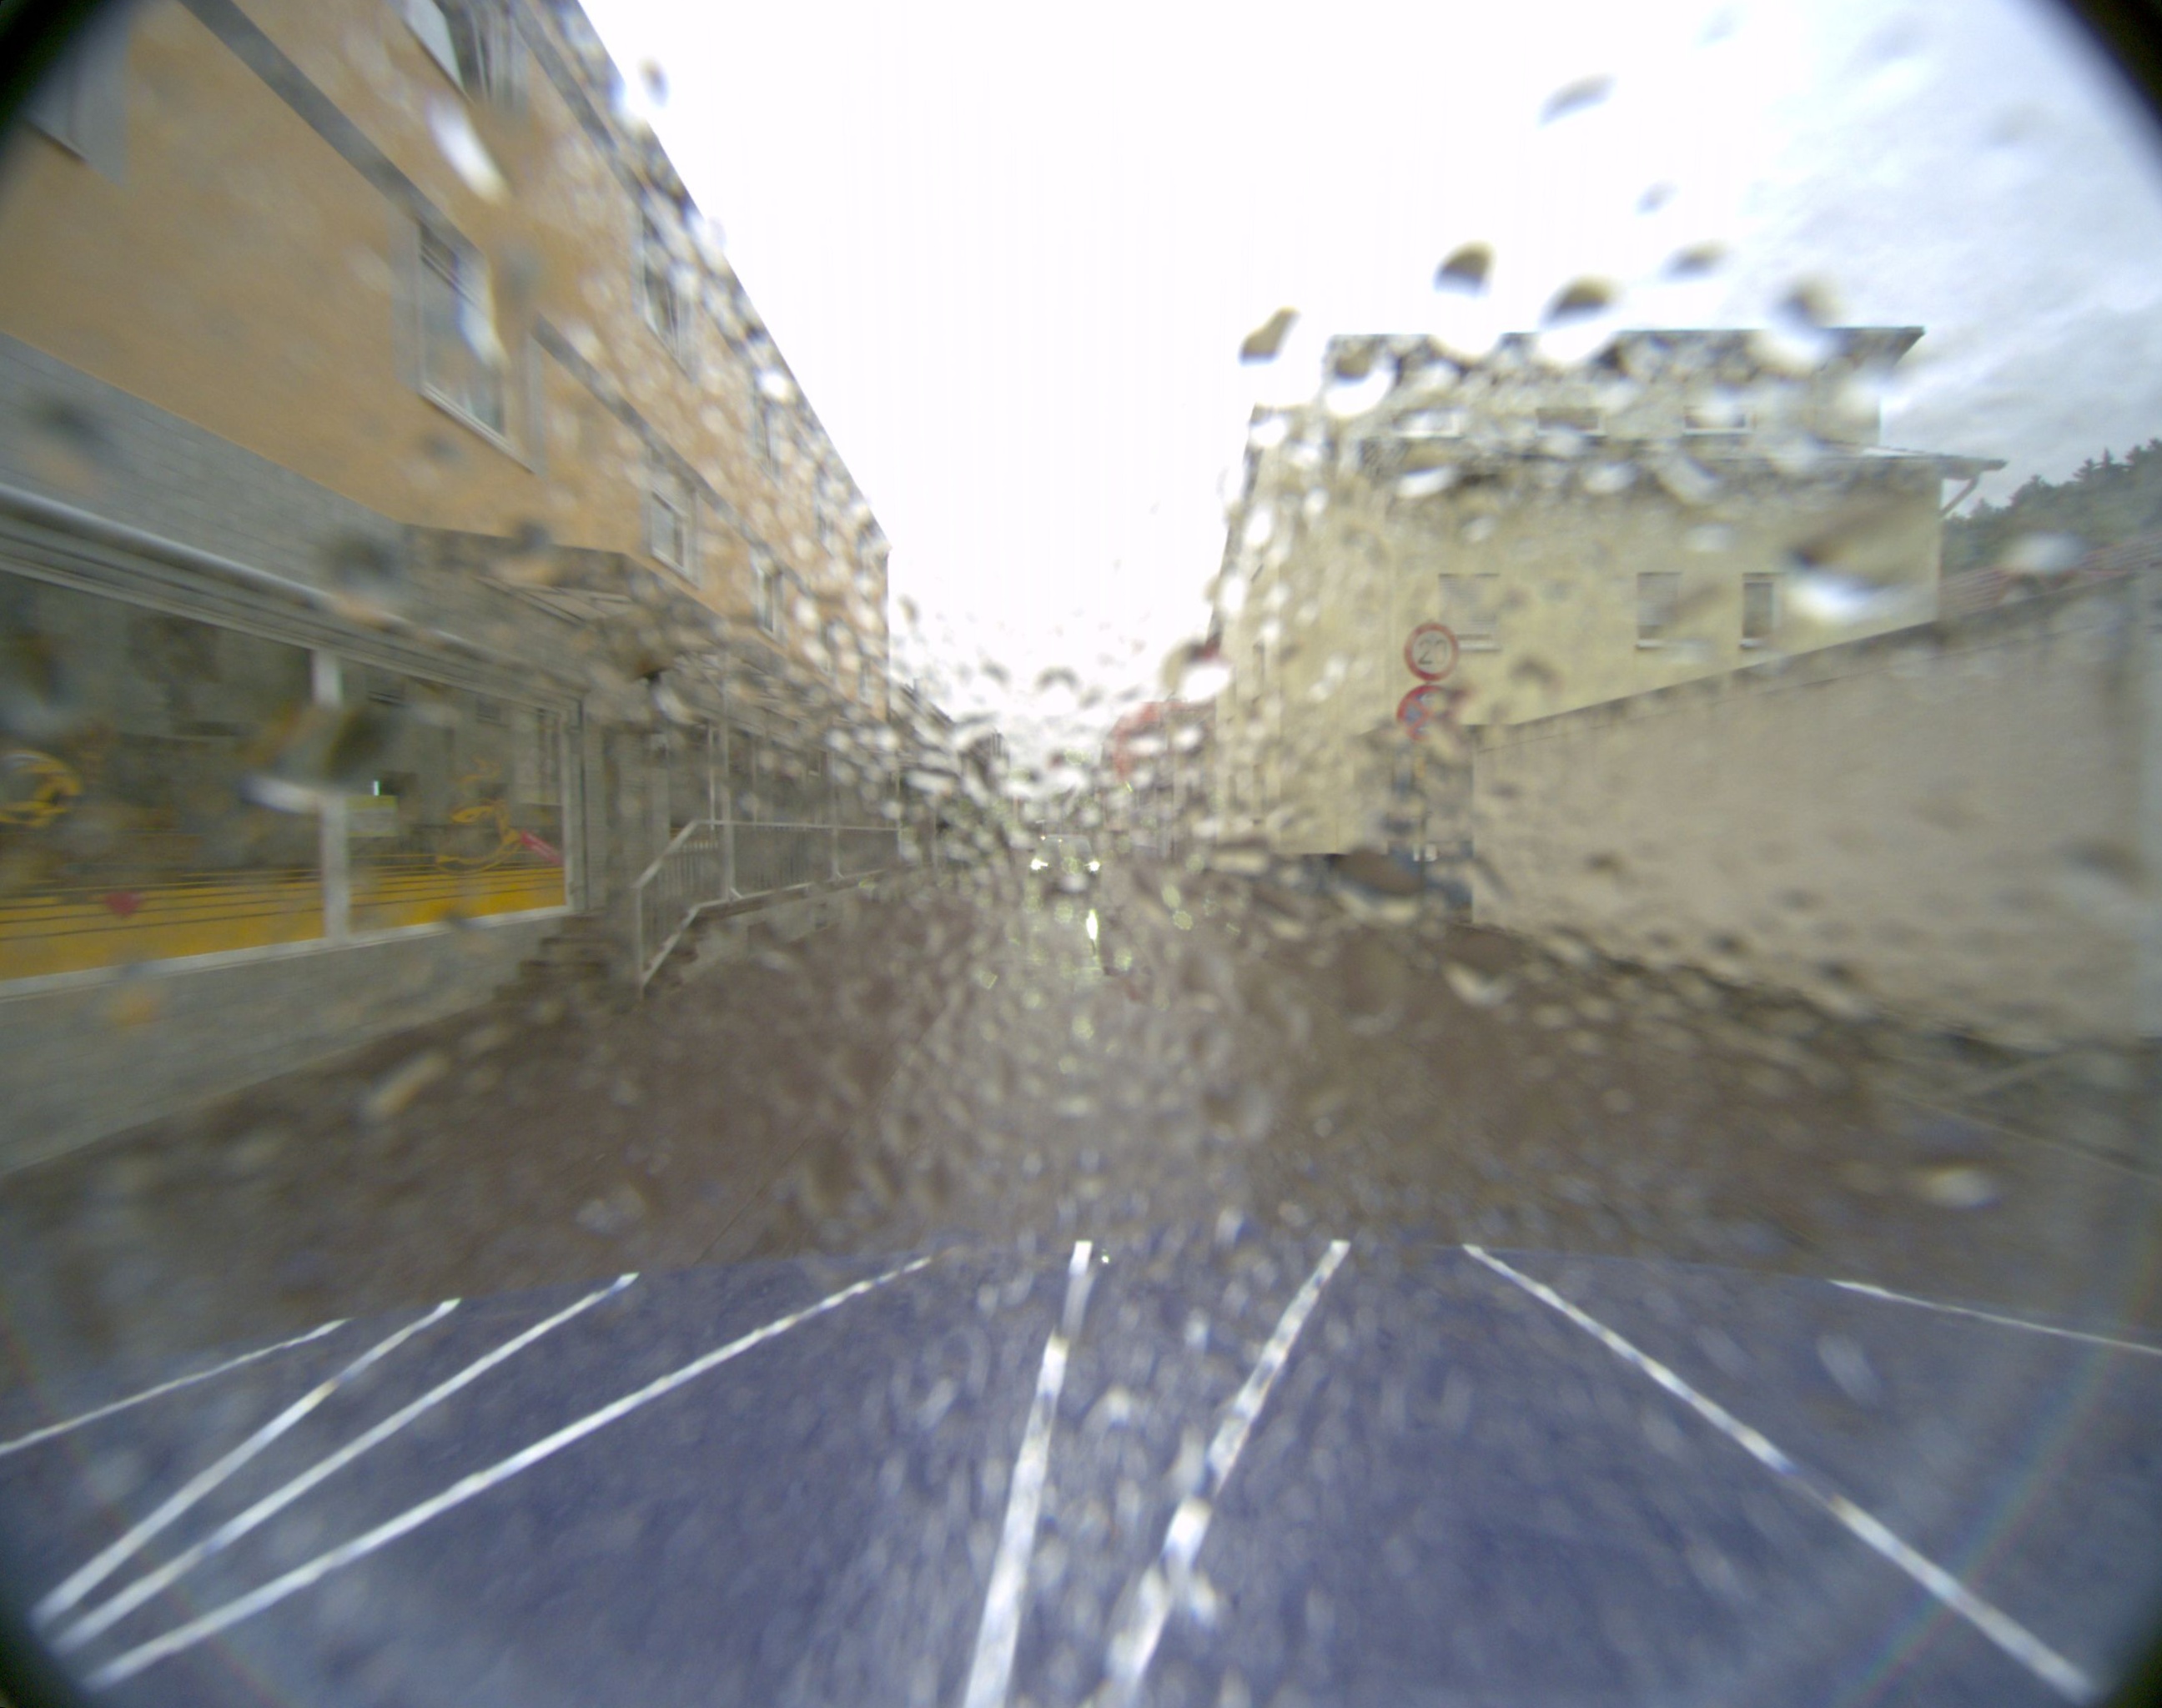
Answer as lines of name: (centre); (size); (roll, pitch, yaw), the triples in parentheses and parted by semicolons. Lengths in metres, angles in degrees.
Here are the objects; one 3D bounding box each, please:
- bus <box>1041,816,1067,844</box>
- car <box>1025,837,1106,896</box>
bus: (-3.938, -3.386, 106.380); (2.894, 3.590, 11.969); (-1, 2, -5)
car: (-0.311, 0.252, 20.027); (1.800, 1.342, 3.738); (-2, 1, 3)
